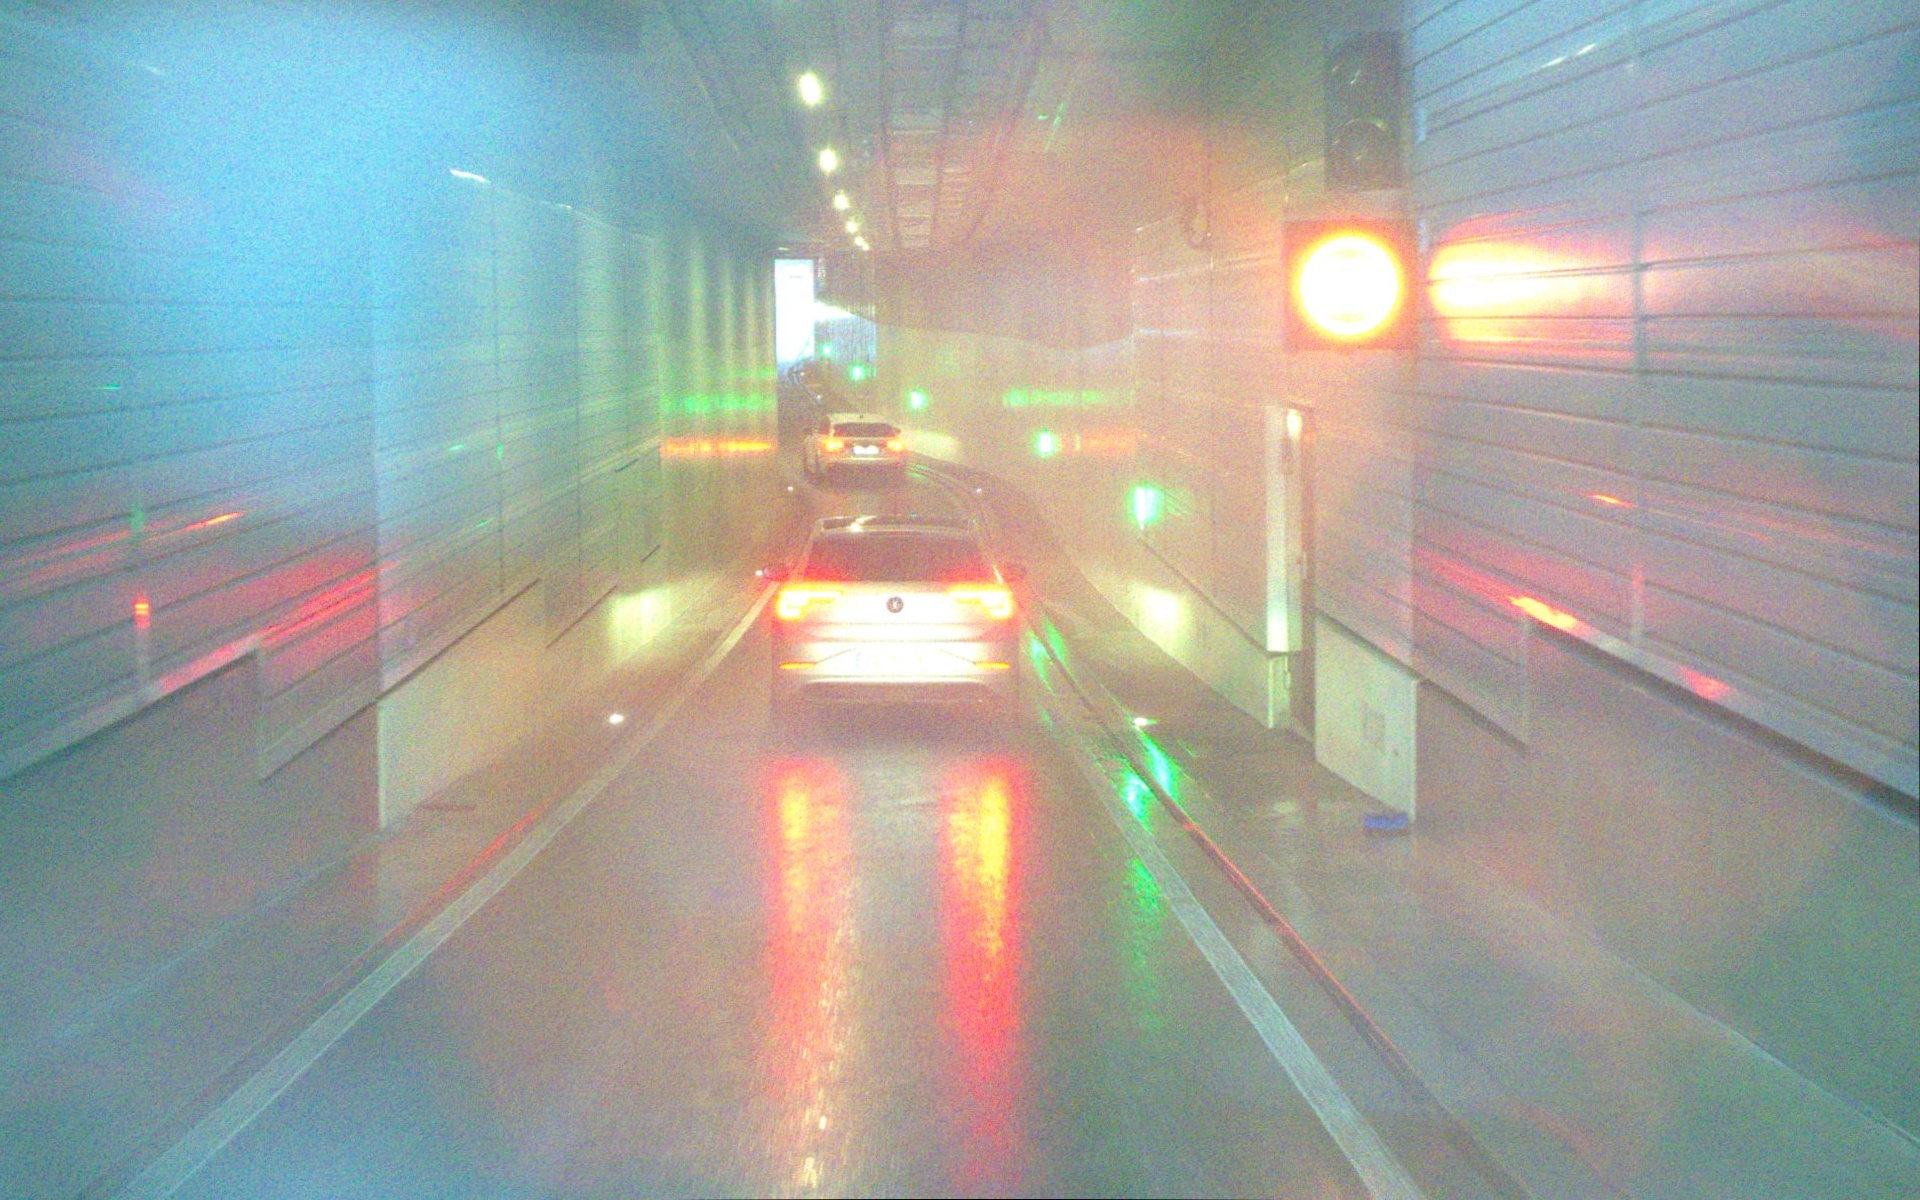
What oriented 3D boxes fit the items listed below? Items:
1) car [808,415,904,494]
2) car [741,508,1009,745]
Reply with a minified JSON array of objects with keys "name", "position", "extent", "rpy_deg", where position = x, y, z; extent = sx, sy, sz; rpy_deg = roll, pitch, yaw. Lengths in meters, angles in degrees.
[{"name":"car","position":[-2.199,-3.068,71.970],"extent":[1.919,1.480,4.001],"rpy_deg":[1,4,-2]},{"name":"car","position":[-0.544,0.122,24.542],"extent":[1.722,1.474,4.000],"rpy_deg":[1,2,0]}]
